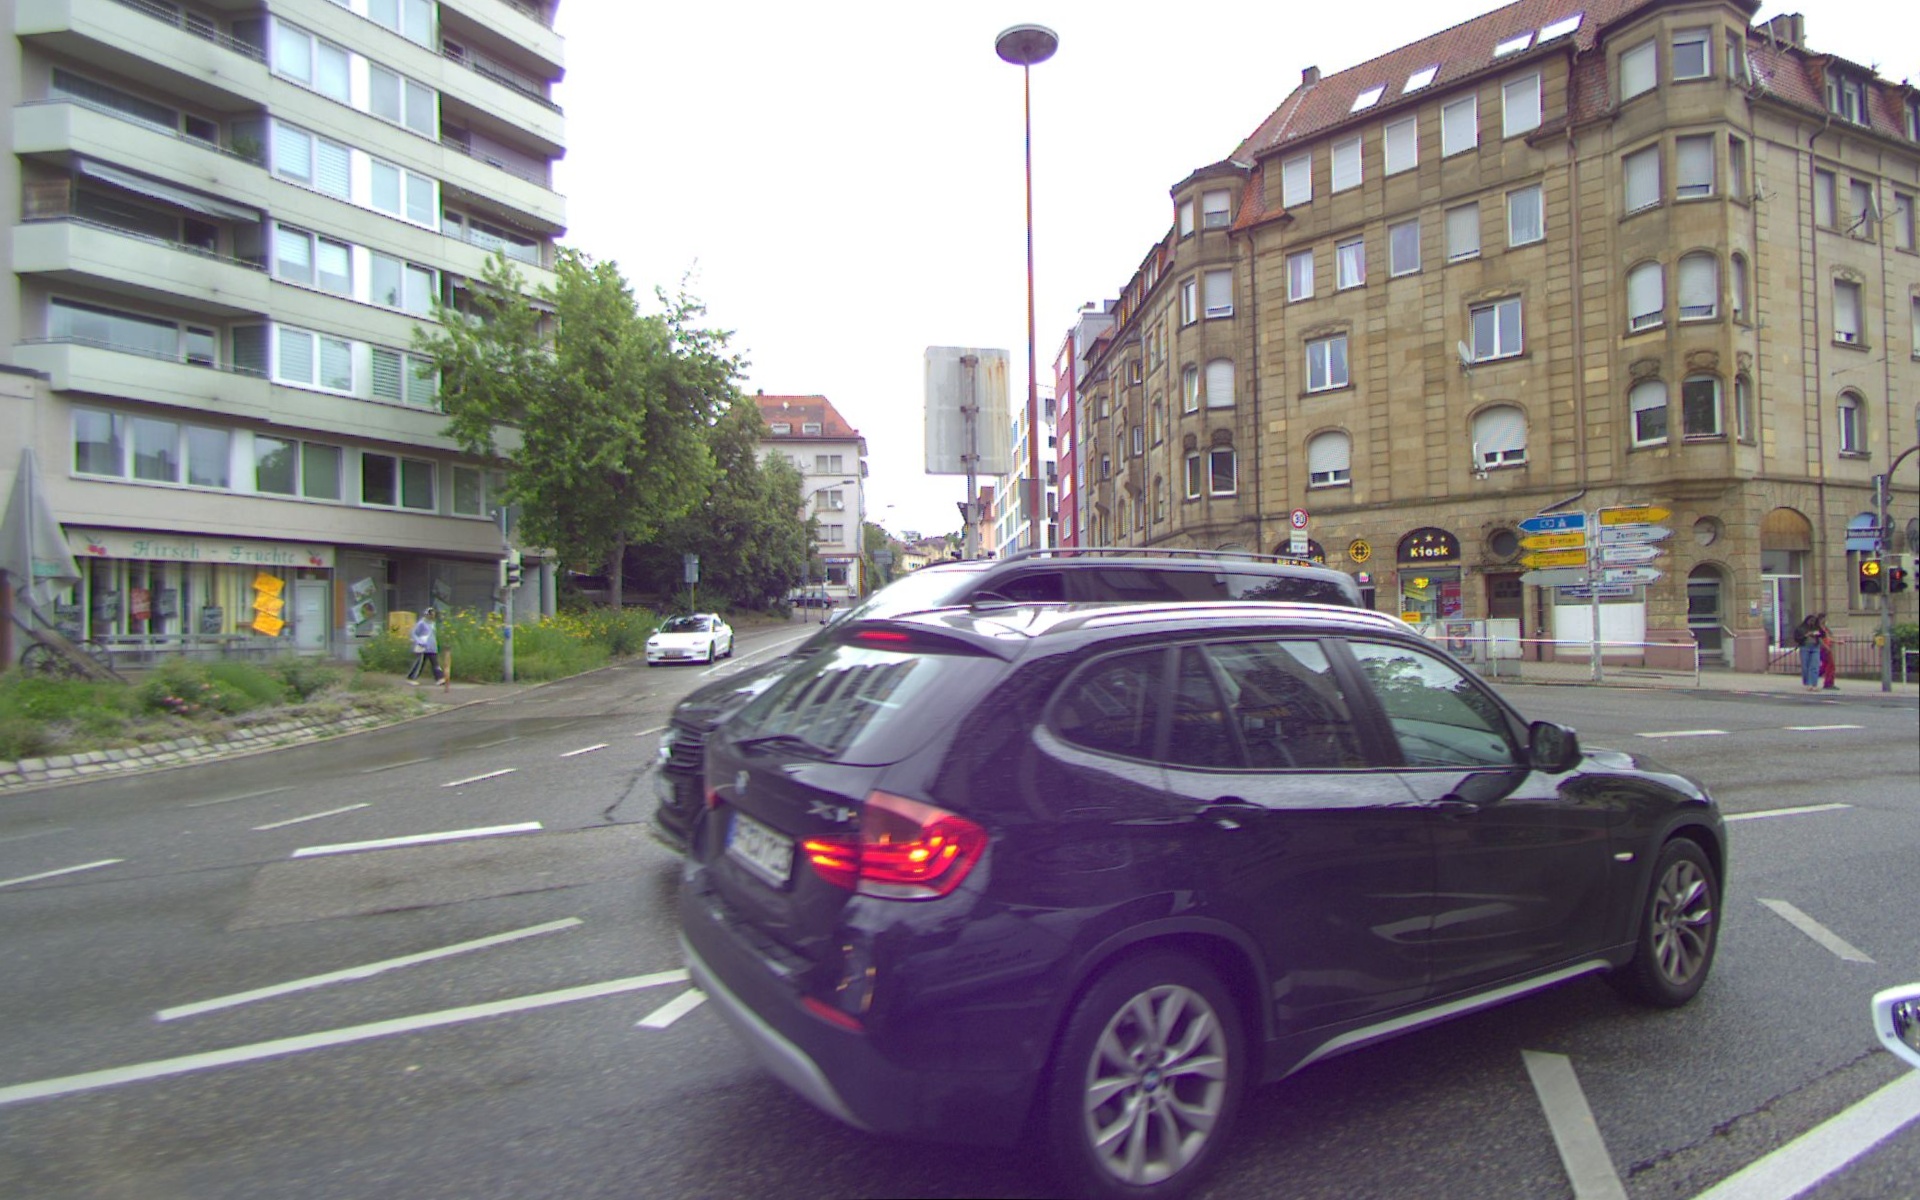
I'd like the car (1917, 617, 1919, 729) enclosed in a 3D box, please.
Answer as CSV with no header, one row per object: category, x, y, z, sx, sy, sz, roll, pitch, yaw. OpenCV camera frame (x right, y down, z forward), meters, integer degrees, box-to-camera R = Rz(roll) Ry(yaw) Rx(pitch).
car,15.254,1.034,13.664,3.809,1.538,1.624,1,-1,-18

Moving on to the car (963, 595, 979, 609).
car,1.373,0.260,127.835,1.665,1.727,4.213,1,-1,-4

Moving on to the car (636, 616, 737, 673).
car,-8.015,1.262,29.878,1.876,1.511,4.392,1,0,-1

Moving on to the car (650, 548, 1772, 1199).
car,1.163,0.762,3.842,4.168,1.555,1.743,3,-1,-32

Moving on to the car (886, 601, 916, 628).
car,-3.587,0.892,62.036,1.704,1.558,4.154,0,0,-1

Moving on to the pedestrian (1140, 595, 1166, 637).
pedestrian,7.878,0.661,41.065,0.774,1.683,0.665,1,0,-29

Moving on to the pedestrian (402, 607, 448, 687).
pedestrian,-11.750,1.020,22.081,0.612,1.715,0.620,1,0,12

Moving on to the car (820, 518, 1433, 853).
car,1.217,0.565,7.244,4.088,1.870,1.738,2,-3,-24

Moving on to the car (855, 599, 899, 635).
car,-3.703,0.741,45.467,1.704,1.558,4.302,0,0,-1

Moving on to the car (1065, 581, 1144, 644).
car,5.367,0.460,37.949,1.962,2.197,4.801,1,-1,-4

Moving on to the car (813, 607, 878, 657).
car,-3.616,0.986,32.360,1.732,1.511,4.023,0,0,-1

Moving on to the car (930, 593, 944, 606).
car,-3.231,-0.043,140.762,1.665,1.727,4.213,1,-1,-4

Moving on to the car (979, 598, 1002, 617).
car,2.914,0.699,96.649,1.665,1.727,4.213,1,-1,-4

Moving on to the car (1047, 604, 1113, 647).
car,5.084,1.057,42.999,1.962,1.727,4.379,1,-1,-4

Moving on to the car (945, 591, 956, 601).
car,-1.648,-0.676,169.821,1.665,1.727,4.213,1,-1,-4

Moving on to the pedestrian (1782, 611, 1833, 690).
pedestrian,19.061,1.124,22.595,0.816,1.725,0.636,1,0,38

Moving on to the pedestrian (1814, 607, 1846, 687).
pedestrian,19.871,1.059,22.950,0.516,1.797,0.690,1,0,39
